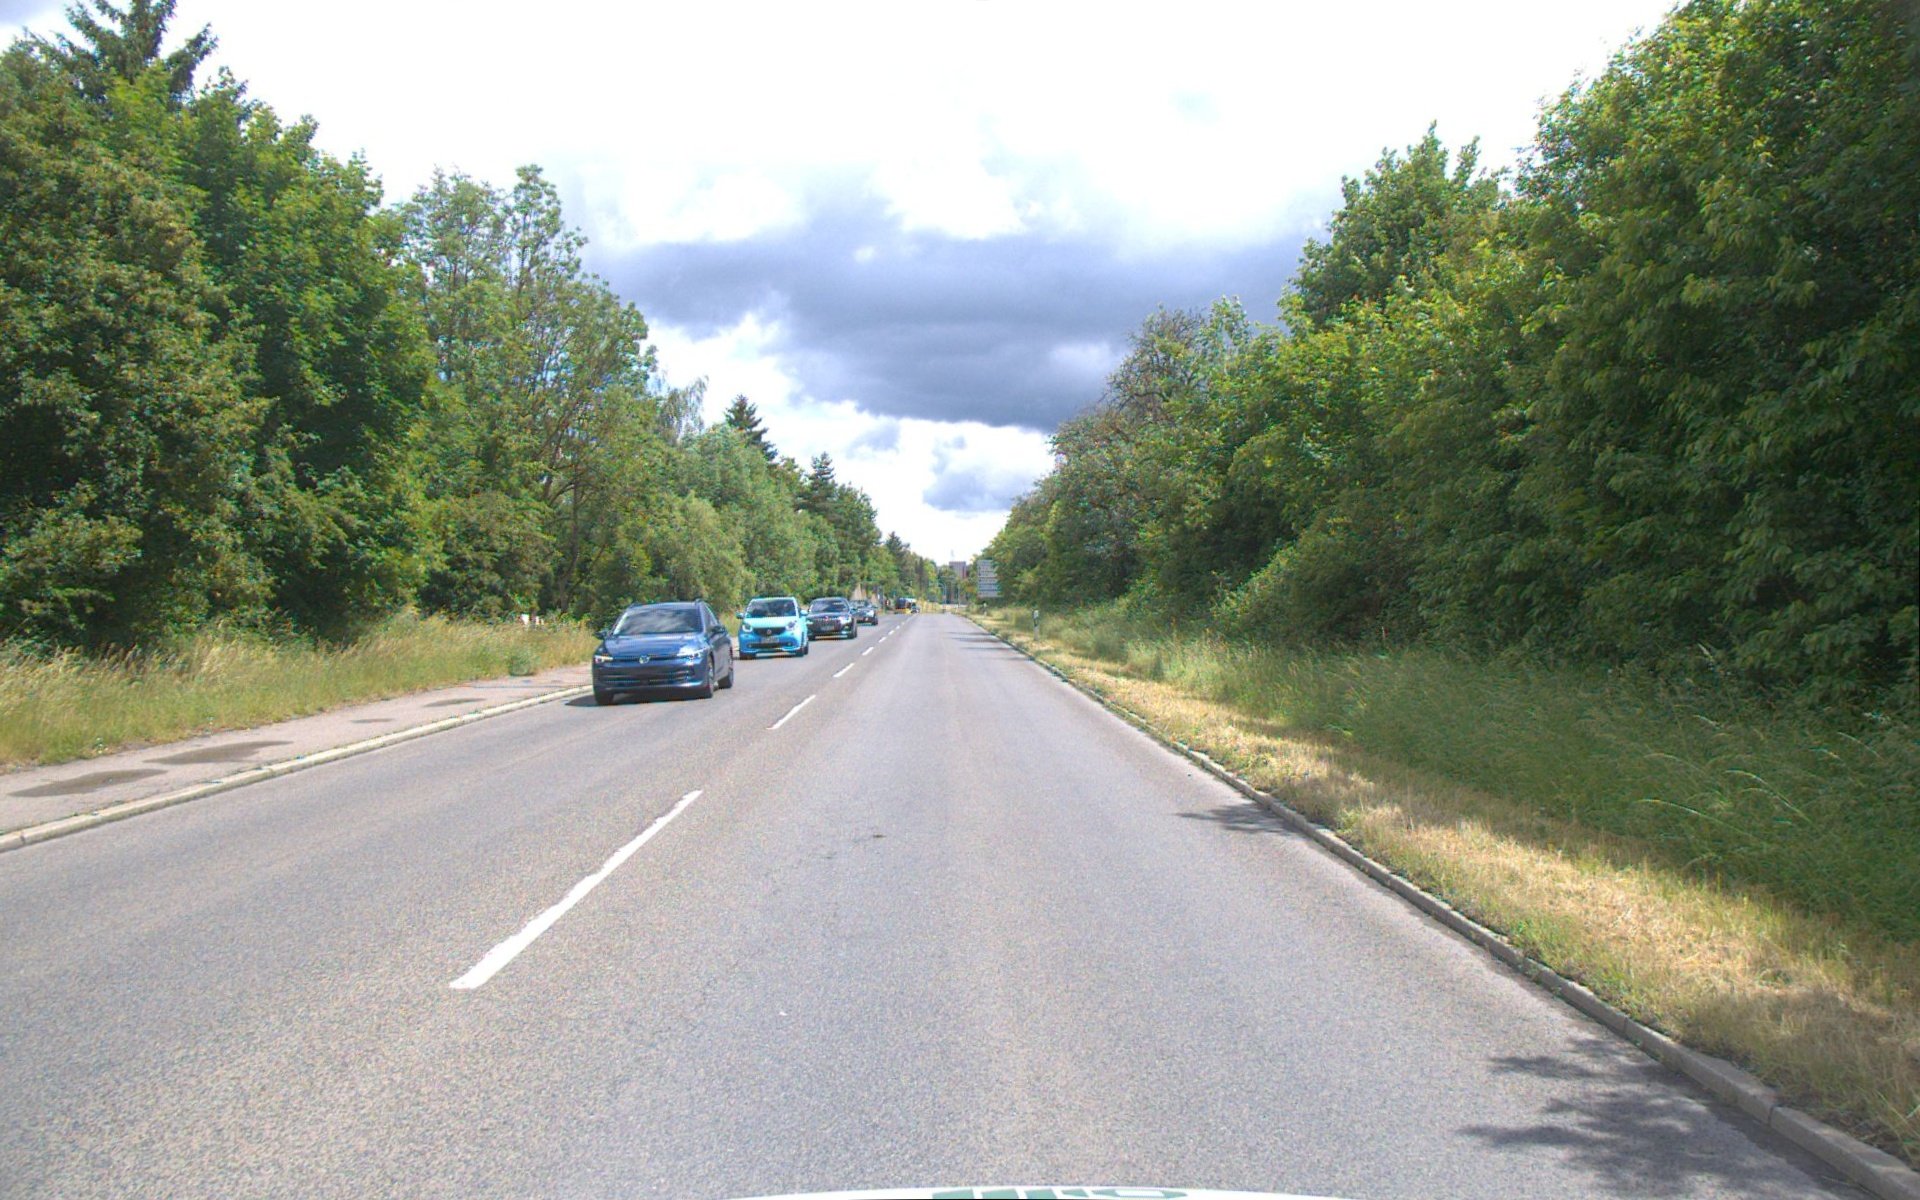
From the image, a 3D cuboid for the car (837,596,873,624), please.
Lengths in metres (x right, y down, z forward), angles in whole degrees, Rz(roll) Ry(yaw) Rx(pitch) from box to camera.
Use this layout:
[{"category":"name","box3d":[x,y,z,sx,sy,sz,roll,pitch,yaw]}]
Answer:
[{"category":"car","box3d":[-5.680,0.518,90.018,1.748,1.357,4.621,-2,0,-2]}]

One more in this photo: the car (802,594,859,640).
[{"category":"car","box3d":[-4.717,0.584,60.696,1.846,1.518,4.715,-2,0,-2]}]

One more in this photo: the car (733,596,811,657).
[{"category":"car","box3d":[-4.855,0.662,43.048,1.748,1.472,2.965,-2,0,-2]}]

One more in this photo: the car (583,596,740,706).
[{"category":"car","box3d":[-4.561,0.724,25.885,1.748,1.472,4.451,-2,0,-2]}]
